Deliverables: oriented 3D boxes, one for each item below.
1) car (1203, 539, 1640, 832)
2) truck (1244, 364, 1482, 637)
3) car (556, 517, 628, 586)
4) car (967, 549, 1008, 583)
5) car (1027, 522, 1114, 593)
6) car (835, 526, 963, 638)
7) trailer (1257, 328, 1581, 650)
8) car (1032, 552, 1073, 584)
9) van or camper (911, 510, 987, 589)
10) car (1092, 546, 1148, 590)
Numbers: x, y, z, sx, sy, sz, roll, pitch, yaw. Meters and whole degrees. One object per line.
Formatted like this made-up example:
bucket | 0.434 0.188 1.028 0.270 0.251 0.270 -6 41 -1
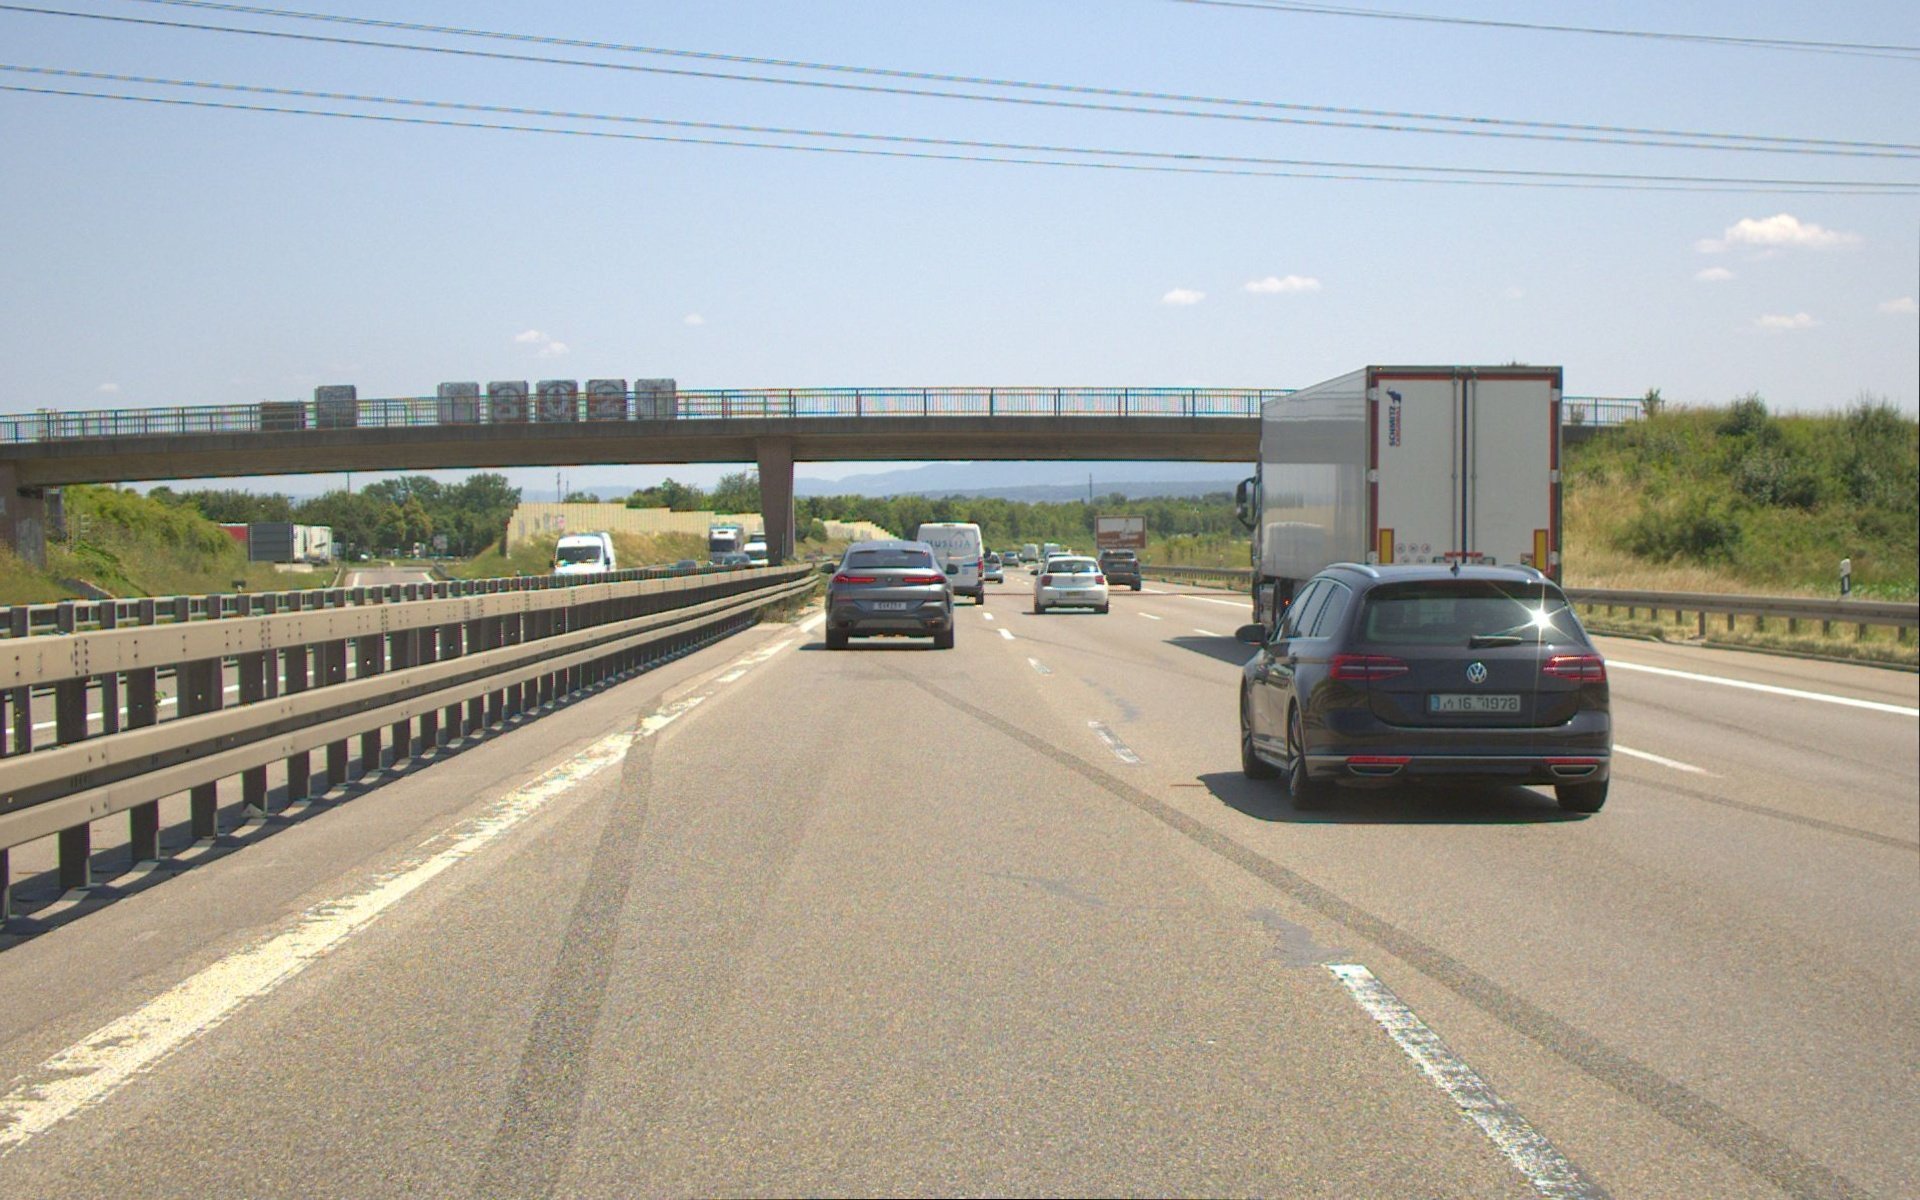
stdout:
car | 2.681 0.432 21.134 1.933 1.569 4.935 1 1 -1
truck | 6.574 -1.596 57.251 2.979 4.213 7.687 1 1 0
car | -14.279 -1.884 133.738 2.032 2.596 7.601 1 1 -1
car | 1.352 -1.692 171.070 1.993 1.677 4.000 1 1 0
car | 2.712 -1.049 85.078 1.993 1.677 4.000 1 1 0
car | -0.989 -0.295 53.779 1.851 1.658 3.735 1 1 -3
trailer | 6.607 -1.539 51.839 2.943 4.184 13.597 1 1 0
car | 4.894 -1.697 181.944 1.993 1.677 4.000 1 1 0
van or camper | -0.334 -1.467 99.577 2.110 2.204 5.266 1 1 0
car | 6.284 -1.283 135.638 1.993 1.677 4.000 1 1 0
